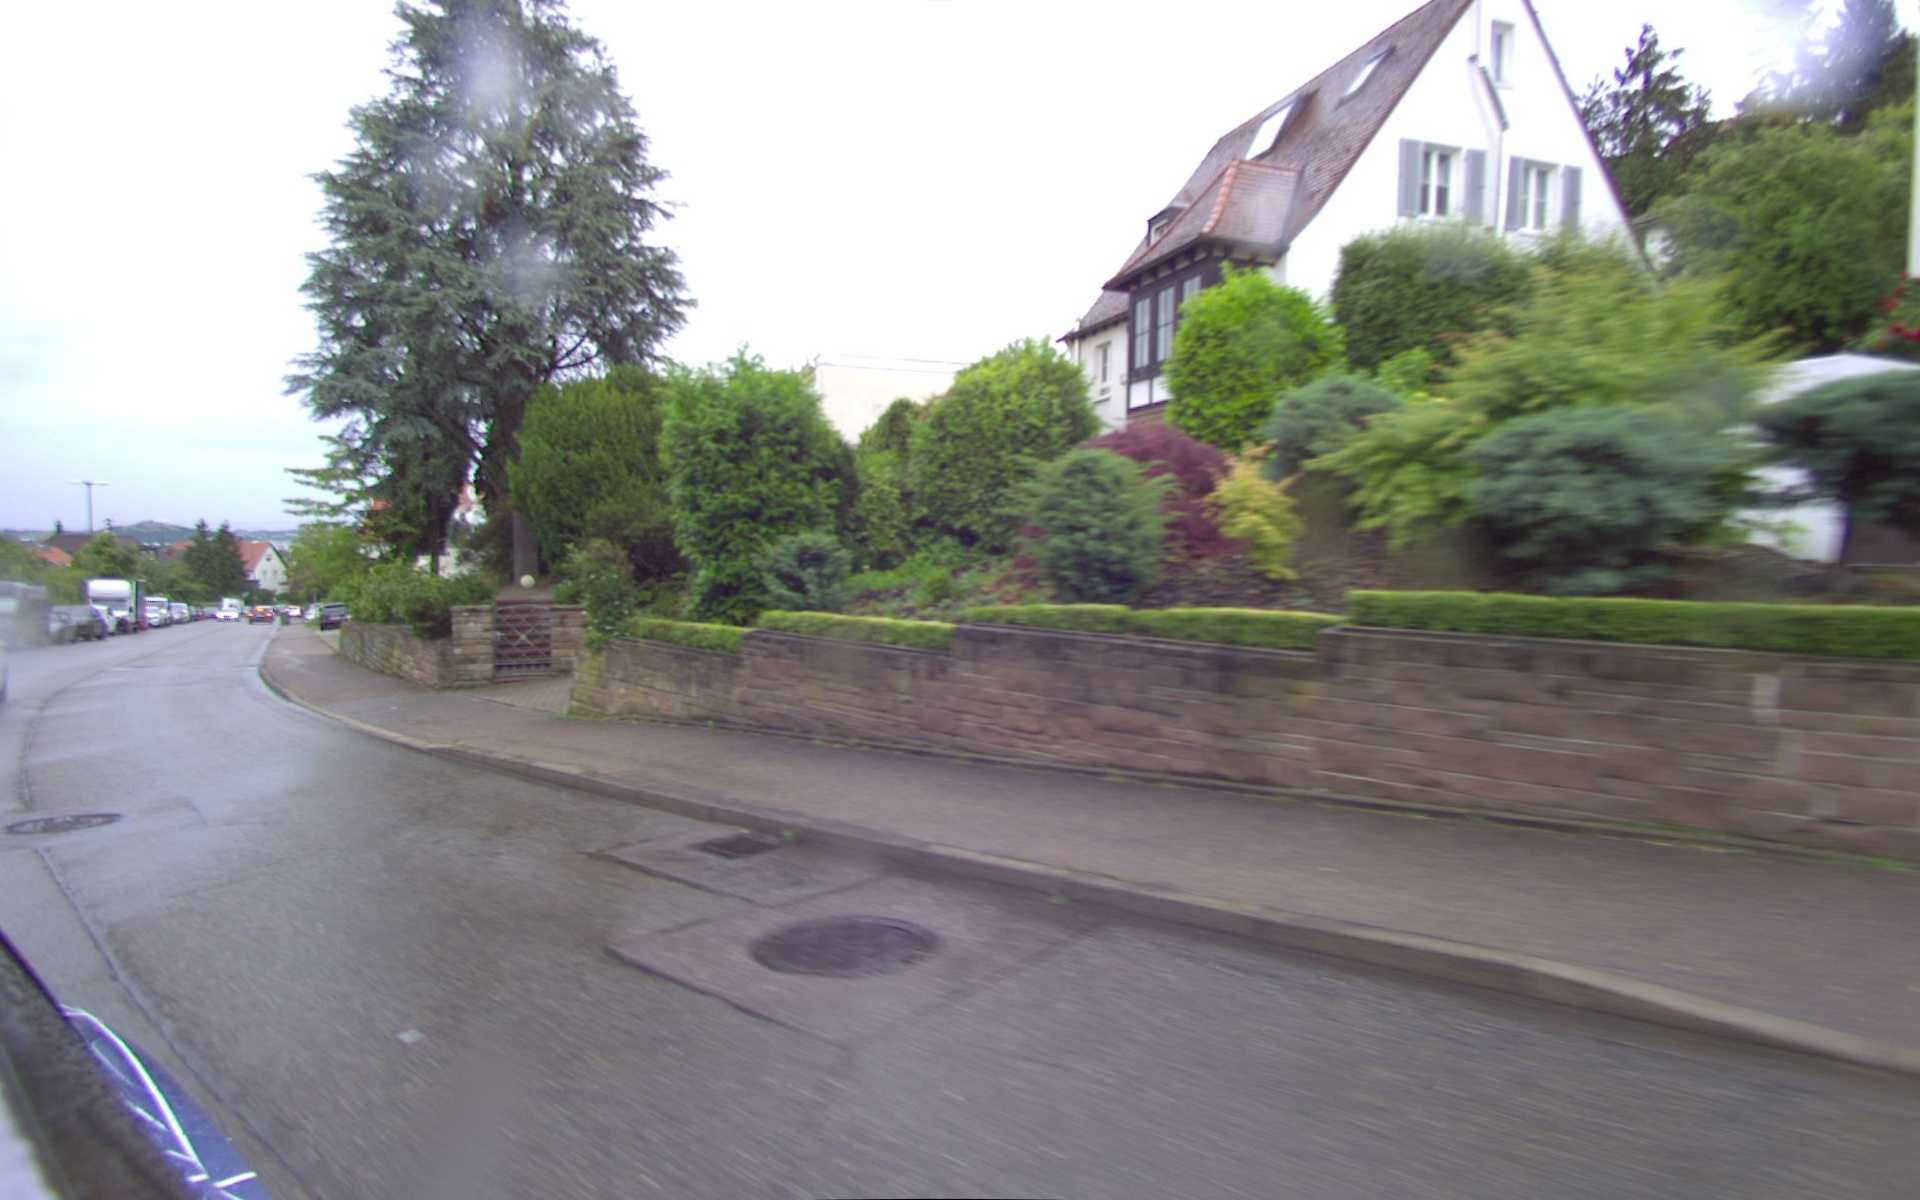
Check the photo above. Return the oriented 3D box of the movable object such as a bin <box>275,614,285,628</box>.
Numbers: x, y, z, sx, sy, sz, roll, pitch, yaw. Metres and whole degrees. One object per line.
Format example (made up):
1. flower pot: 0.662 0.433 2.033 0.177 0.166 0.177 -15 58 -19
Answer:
1. movable object such as a bin: -54.476 1.699 81.119 0.594 1.072 0.700 -2 0 -38

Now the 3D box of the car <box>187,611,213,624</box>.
1. car: -90.200 2.098 120.114 1.768 1.470 4.804 1 -1 -28

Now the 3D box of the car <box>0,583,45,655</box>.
1. car: -35.816 0.689 37.491 2.004 2.524 5.971 1 -1 -34

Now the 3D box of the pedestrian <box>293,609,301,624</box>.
1. pedestrian: -70.417 1.772 107.534 0.707 1.647 0.709 0 -1 -32

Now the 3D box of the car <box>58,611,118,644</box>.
1. car: -48.191 1.496 56.028 1.821 1.696 5.654 1 0 -34

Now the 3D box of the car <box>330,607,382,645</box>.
1. car: -25.495 1.070 42.644 1.611 1.406 4.250 -5 2 -33

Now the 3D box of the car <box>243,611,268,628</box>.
1. car: -64.482 1.798 92.684 1.750 1.448 4.373 3 -2 -34

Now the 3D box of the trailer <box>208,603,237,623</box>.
1. trailer: -94.972 1.670 130.383 1.921 2.475 5.452 1 0 -24

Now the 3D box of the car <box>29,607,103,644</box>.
1. car: -43.011 1.185 48.783 1.910 1.684 4.708 1 -1 -32

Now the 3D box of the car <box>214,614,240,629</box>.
1. car: -77.523 2.218 107.114 1.790 1.518 4.738 1 0 -31

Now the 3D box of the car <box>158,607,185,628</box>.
1. car: -75.079 1.641 96.366 1.824 1.896 4.922 1 0 -36

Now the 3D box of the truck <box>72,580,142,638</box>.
1. truck: -52.631 0.510 62.616 2.403 3.360 7.986 1 0 -34

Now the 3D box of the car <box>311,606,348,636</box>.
1. car: -39.055 1.282 62.766 1.667 1.599 4.209 -8 3 -30

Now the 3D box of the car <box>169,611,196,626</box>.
1. car: -81.499 1.929 106.087 1.791 1.518 4.737 1 0 -33

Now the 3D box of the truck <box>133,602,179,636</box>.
1. truck: -64.685 1.486 81.560 2.208 2.651 6.557 1 0 -33

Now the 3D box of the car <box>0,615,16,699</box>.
1. car: -16.457 0.972 15.906 1.834 1.388 4.191 -2 0 -36

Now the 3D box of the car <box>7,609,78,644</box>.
1. car: -39.401 1.119 43.530 1.567 1.440 3.808 1 -1 -32

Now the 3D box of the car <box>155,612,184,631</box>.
1. car: -71.085 1.903 91.063 1.625 1.575 3.974 1 0 -32

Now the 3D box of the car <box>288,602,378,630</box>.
1. car: -44.334 1.110 71.693 5.014 1.959 2.148 0 -1 -17

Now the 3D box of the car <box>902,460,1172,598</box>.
1. car: 1.199 -1.117 16.141 3.735 1.534 1.736 -10 3 -16

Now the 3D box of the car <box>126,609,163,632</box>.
1. car: -60.590 1.510 75.252 1.736 1.616 4.679 1 0 -34
